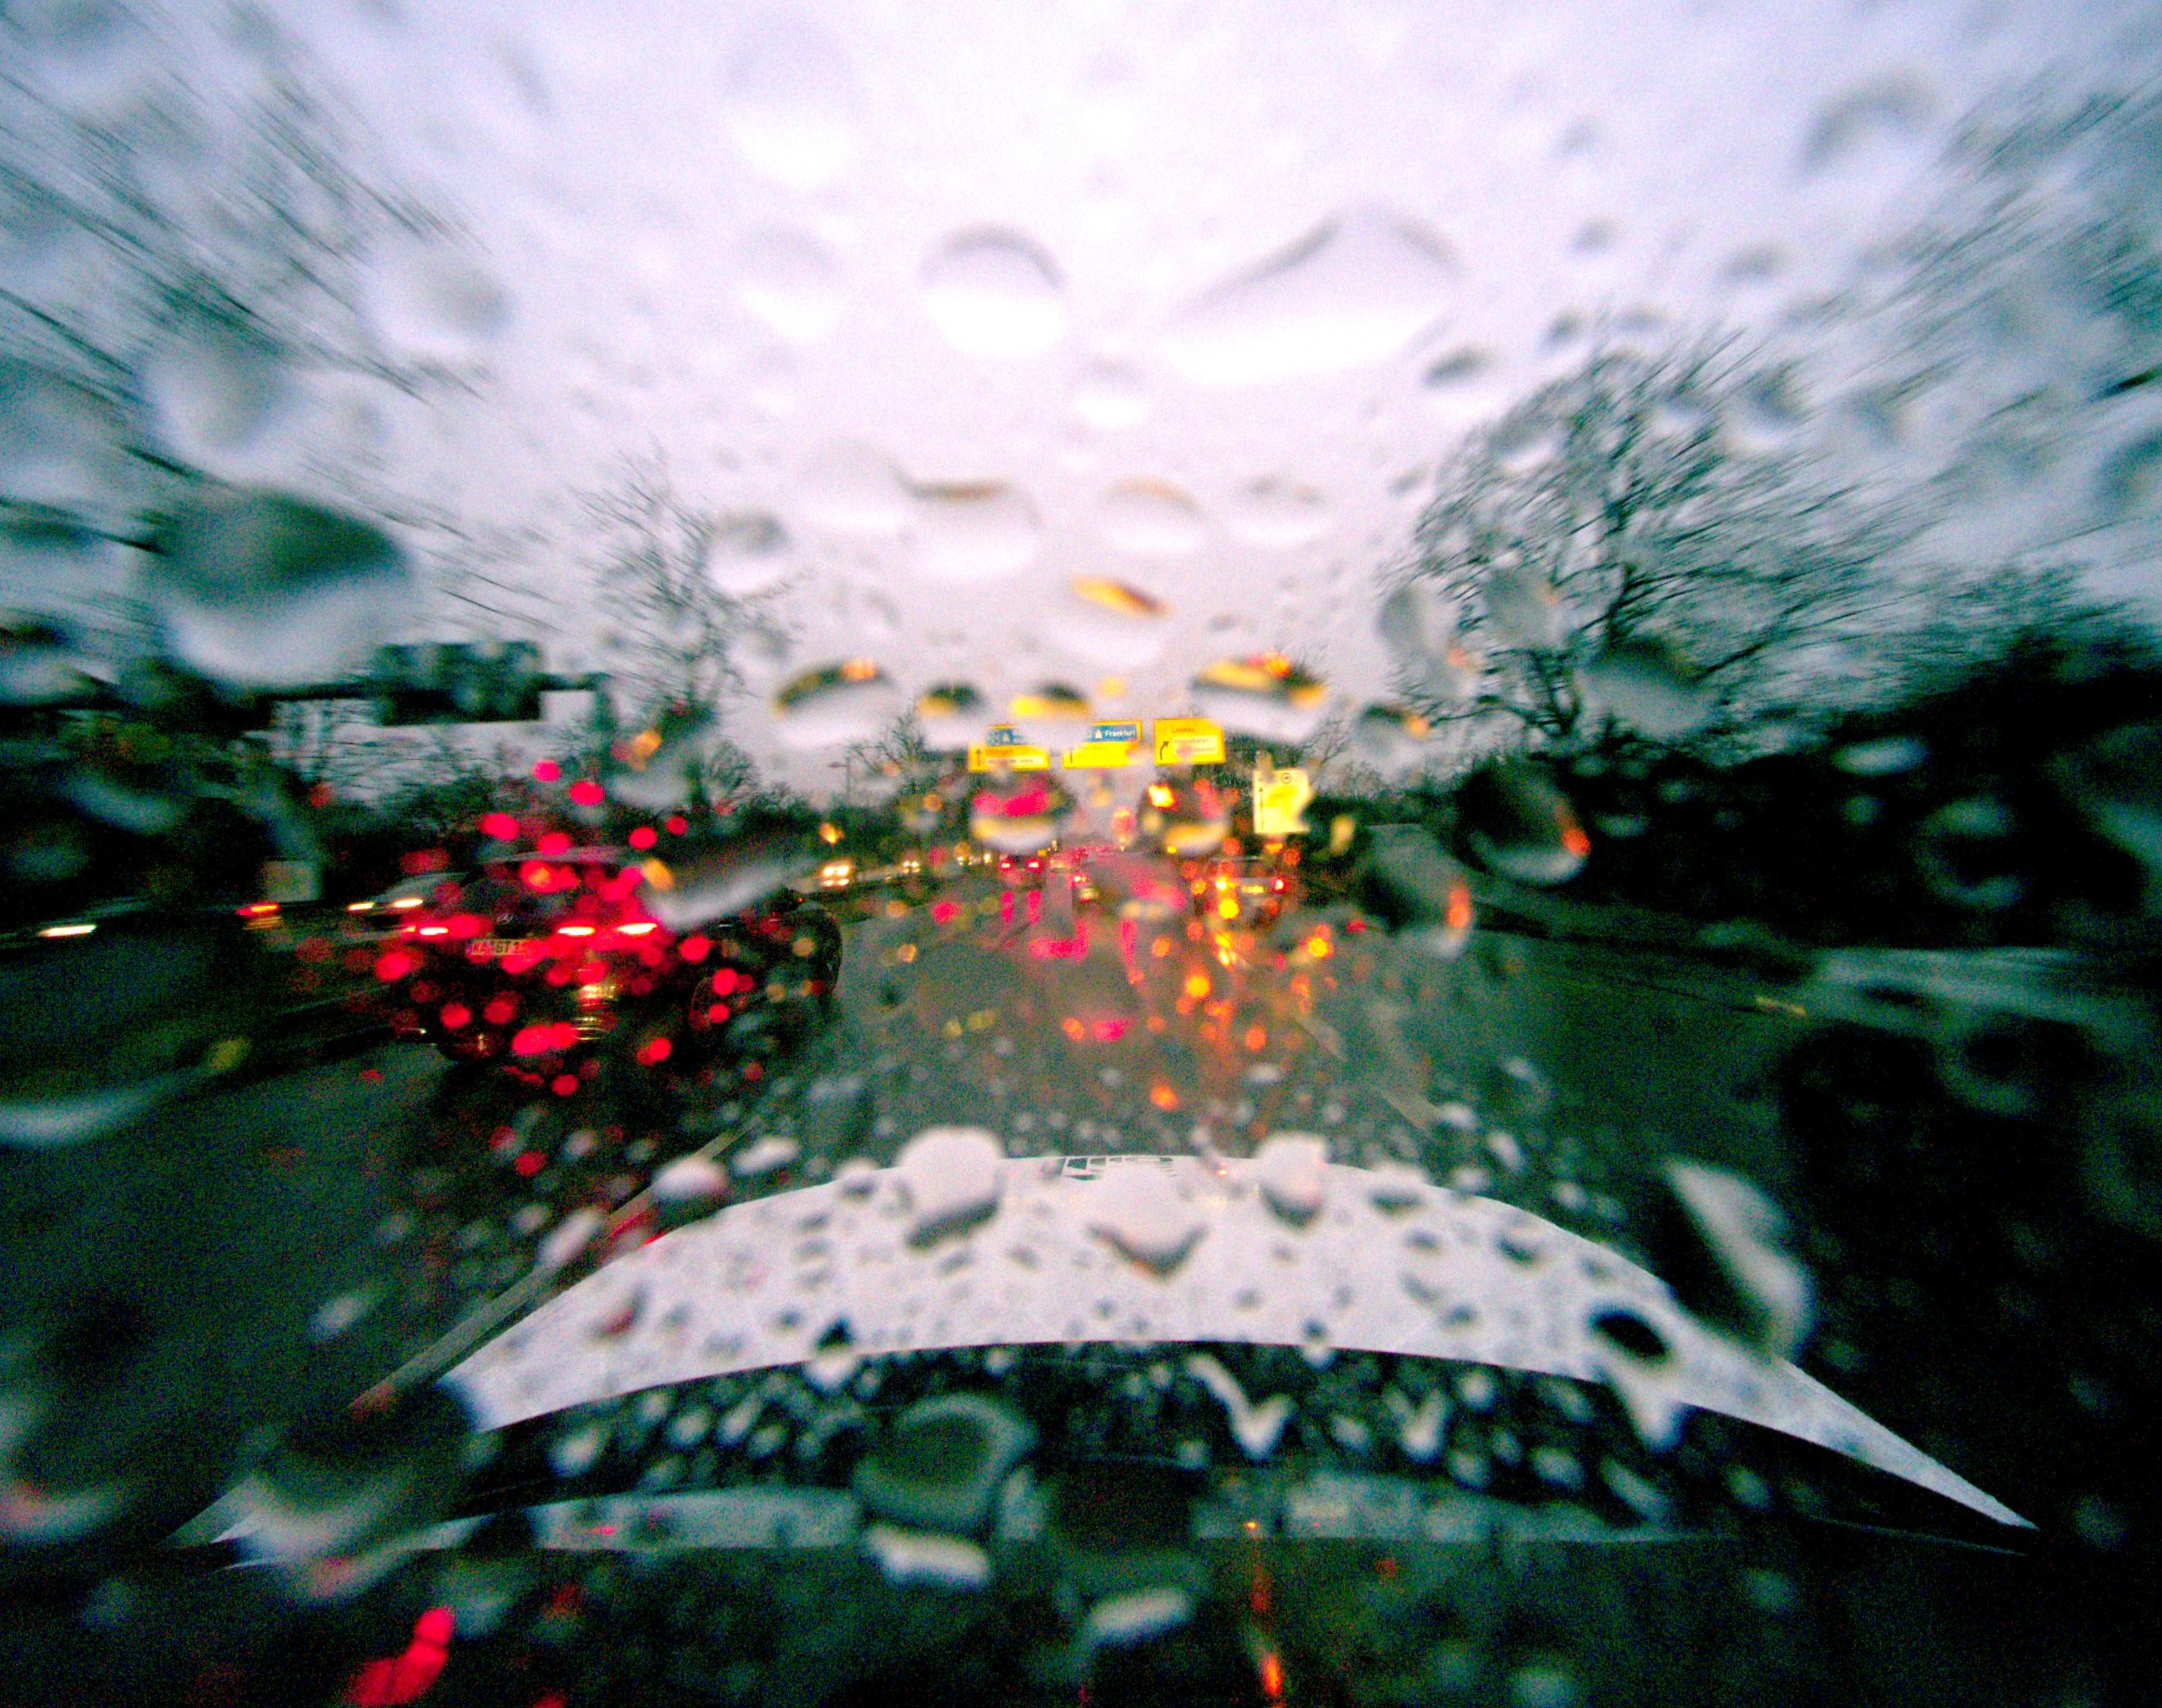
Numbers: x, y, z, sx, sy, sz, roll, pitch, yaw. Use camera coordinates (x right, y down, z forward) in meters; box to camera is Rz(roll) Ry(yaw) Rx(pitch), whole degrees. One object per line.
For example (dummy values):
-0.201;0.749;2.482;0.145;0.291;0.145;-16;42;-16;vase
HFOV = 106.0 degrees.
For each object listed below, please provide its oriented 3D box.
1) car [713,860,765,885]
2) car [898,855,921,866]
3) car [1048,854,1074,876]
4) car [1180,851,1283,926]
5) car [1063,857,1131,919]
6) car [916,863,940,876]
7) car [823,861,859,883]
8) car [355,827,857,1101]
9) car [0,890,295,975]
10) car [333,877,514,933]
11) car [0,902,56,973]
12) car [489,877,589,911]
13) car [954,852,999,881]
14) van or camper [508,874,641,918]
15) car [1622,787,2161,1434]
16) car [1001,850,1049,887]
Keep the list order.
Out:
-26.773;1.409;63.935;1.985;1.851;4.430;-1;0;3;car
-21.532;0.859;102.376;1.745;1.308;4.317;-1;0;1;car
-1.564;0.842;65.510;1.815;1.648;4.002;-2;0;2;car
3.614;0.794;20.343;1.926;1.648;4.468;0;-1;2;car
0.524;0.941;24.063;1.815;1.648;4.468;0;-1;2;car
-17.292;1.750;92.019;1.745;1.308;4.317;-1;0;1;car
-19.076;1.400;64.802;1.779;1.627;3.574;-1;0;0;car
-3.584;0.699;7.328;1.816;1.648;4.466;-2;0;0;car
-20.525;1.609;17.908;1.894;1.446;4.463;-1;0;6;car
-20.151;1.513;25.257;1.897;1.446;4.444;-2;0;2;car
-23.770;1.803;16.049;1.897;1.446;4.091;-1;0;2;car
-27.028;1.964;40.804;1.897;1.446;4.444;-1;0;2;car
-6.128;0.707;48.195;1.986;1.597;4.001;-2;0;1;car
-19.884;1.594;32.295;1.897;1.446;5.160;-1;0;2;van or camper
3.591;0.611;1.761;1.810;1.618;4.408;-2;0;-1;car
-2.629;0.669;38.965;1.815;1.648;4.002;-2;0;2;car
